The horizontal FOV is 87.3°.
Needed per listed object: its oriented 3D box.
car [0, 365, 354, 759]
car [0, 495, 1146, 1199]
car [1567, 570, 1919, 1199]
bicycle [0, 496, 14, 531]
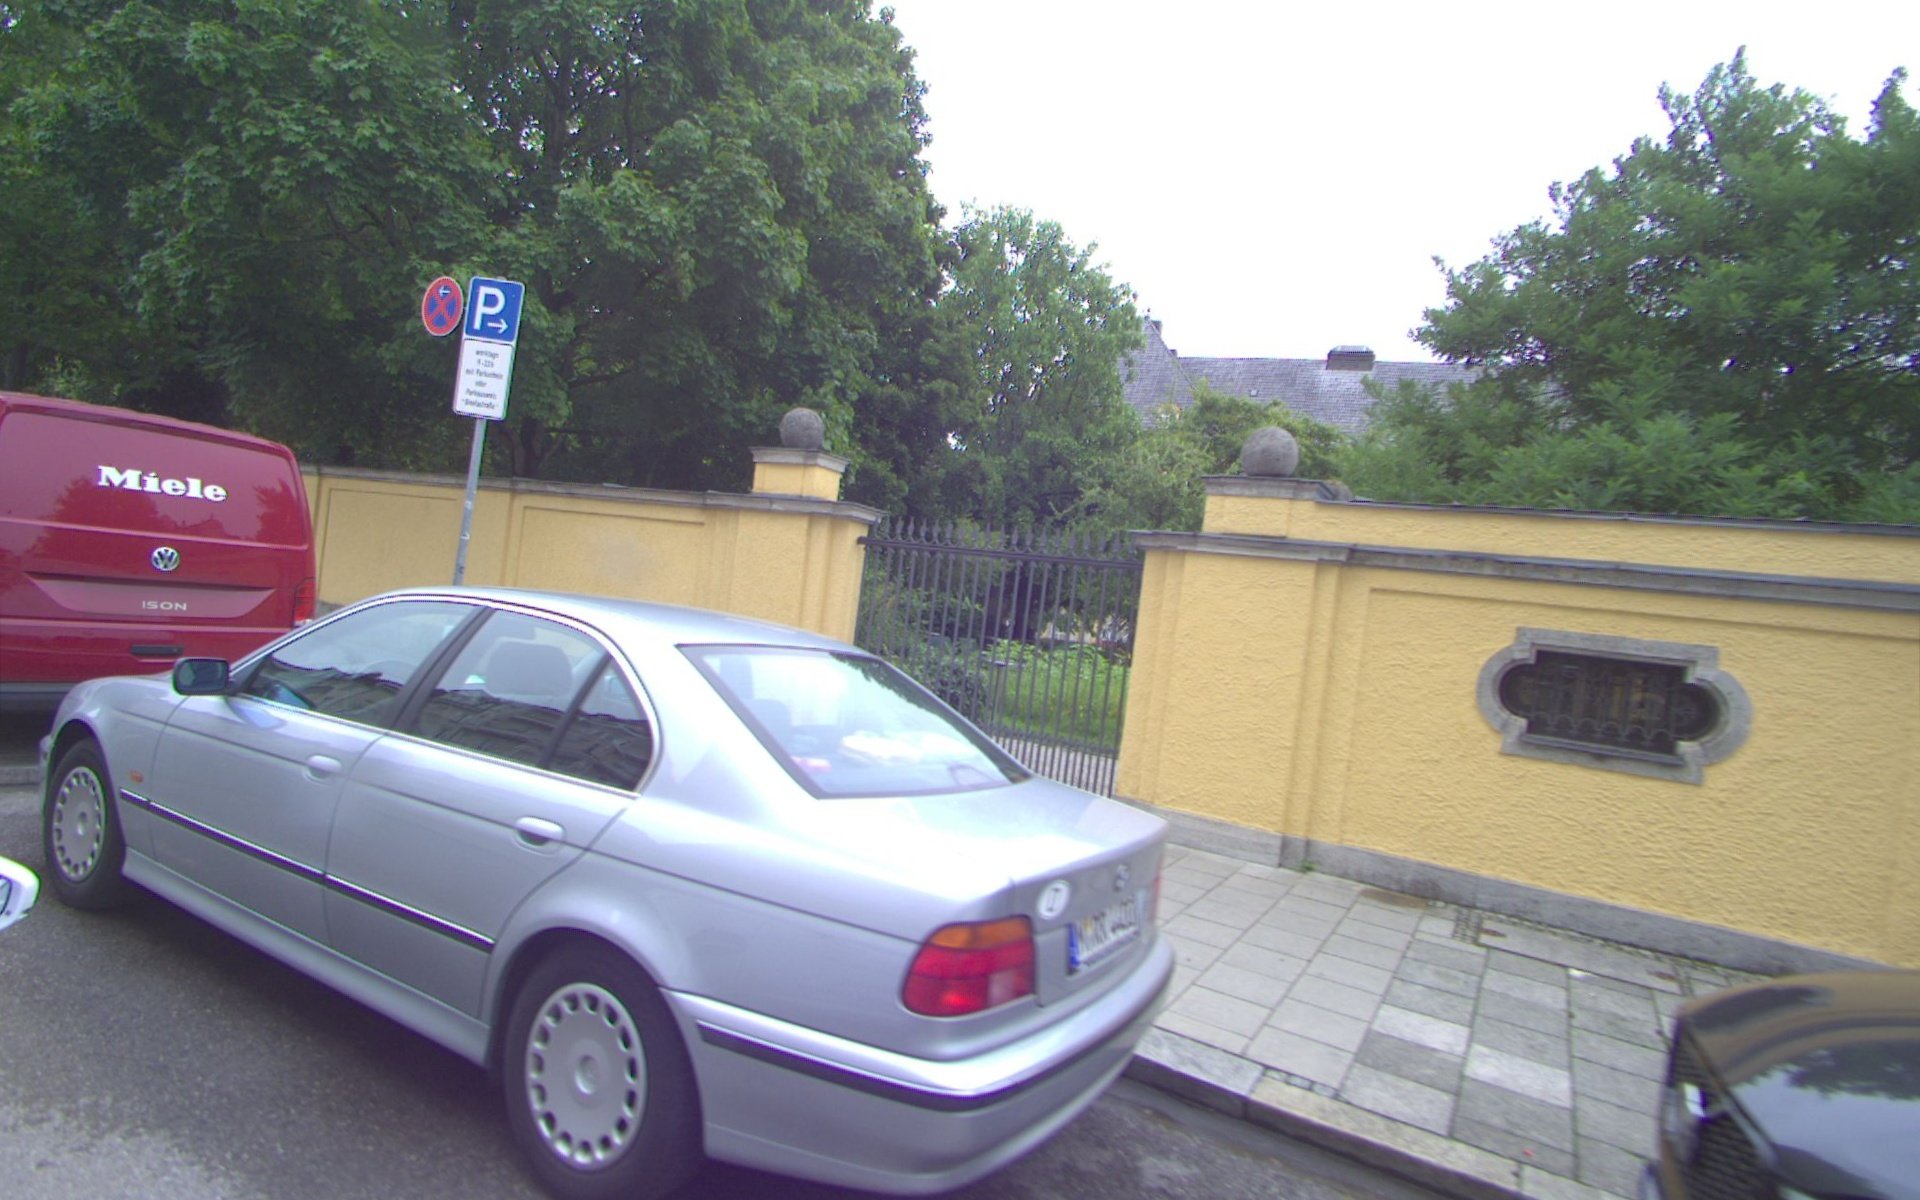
[{"bbox_3d":[-6.487,-0.361,6.789,4.805,1.943,1.878,7,-1,31],"label":"car"},{"bbox_3d":[-1.705,0.625,3.949,4.293,1.465,1.890,7,-2,29],"label":"car"},{"bbox_3d":[3.375,1.149,0.804,4.741,1.672,1.889,7,-2,29],"label":"car"},{"bbox_3d":[-33.494,-3.072,34.316,1.797,1.163,0.537,7,1,0],"label":"bicycle"}]
